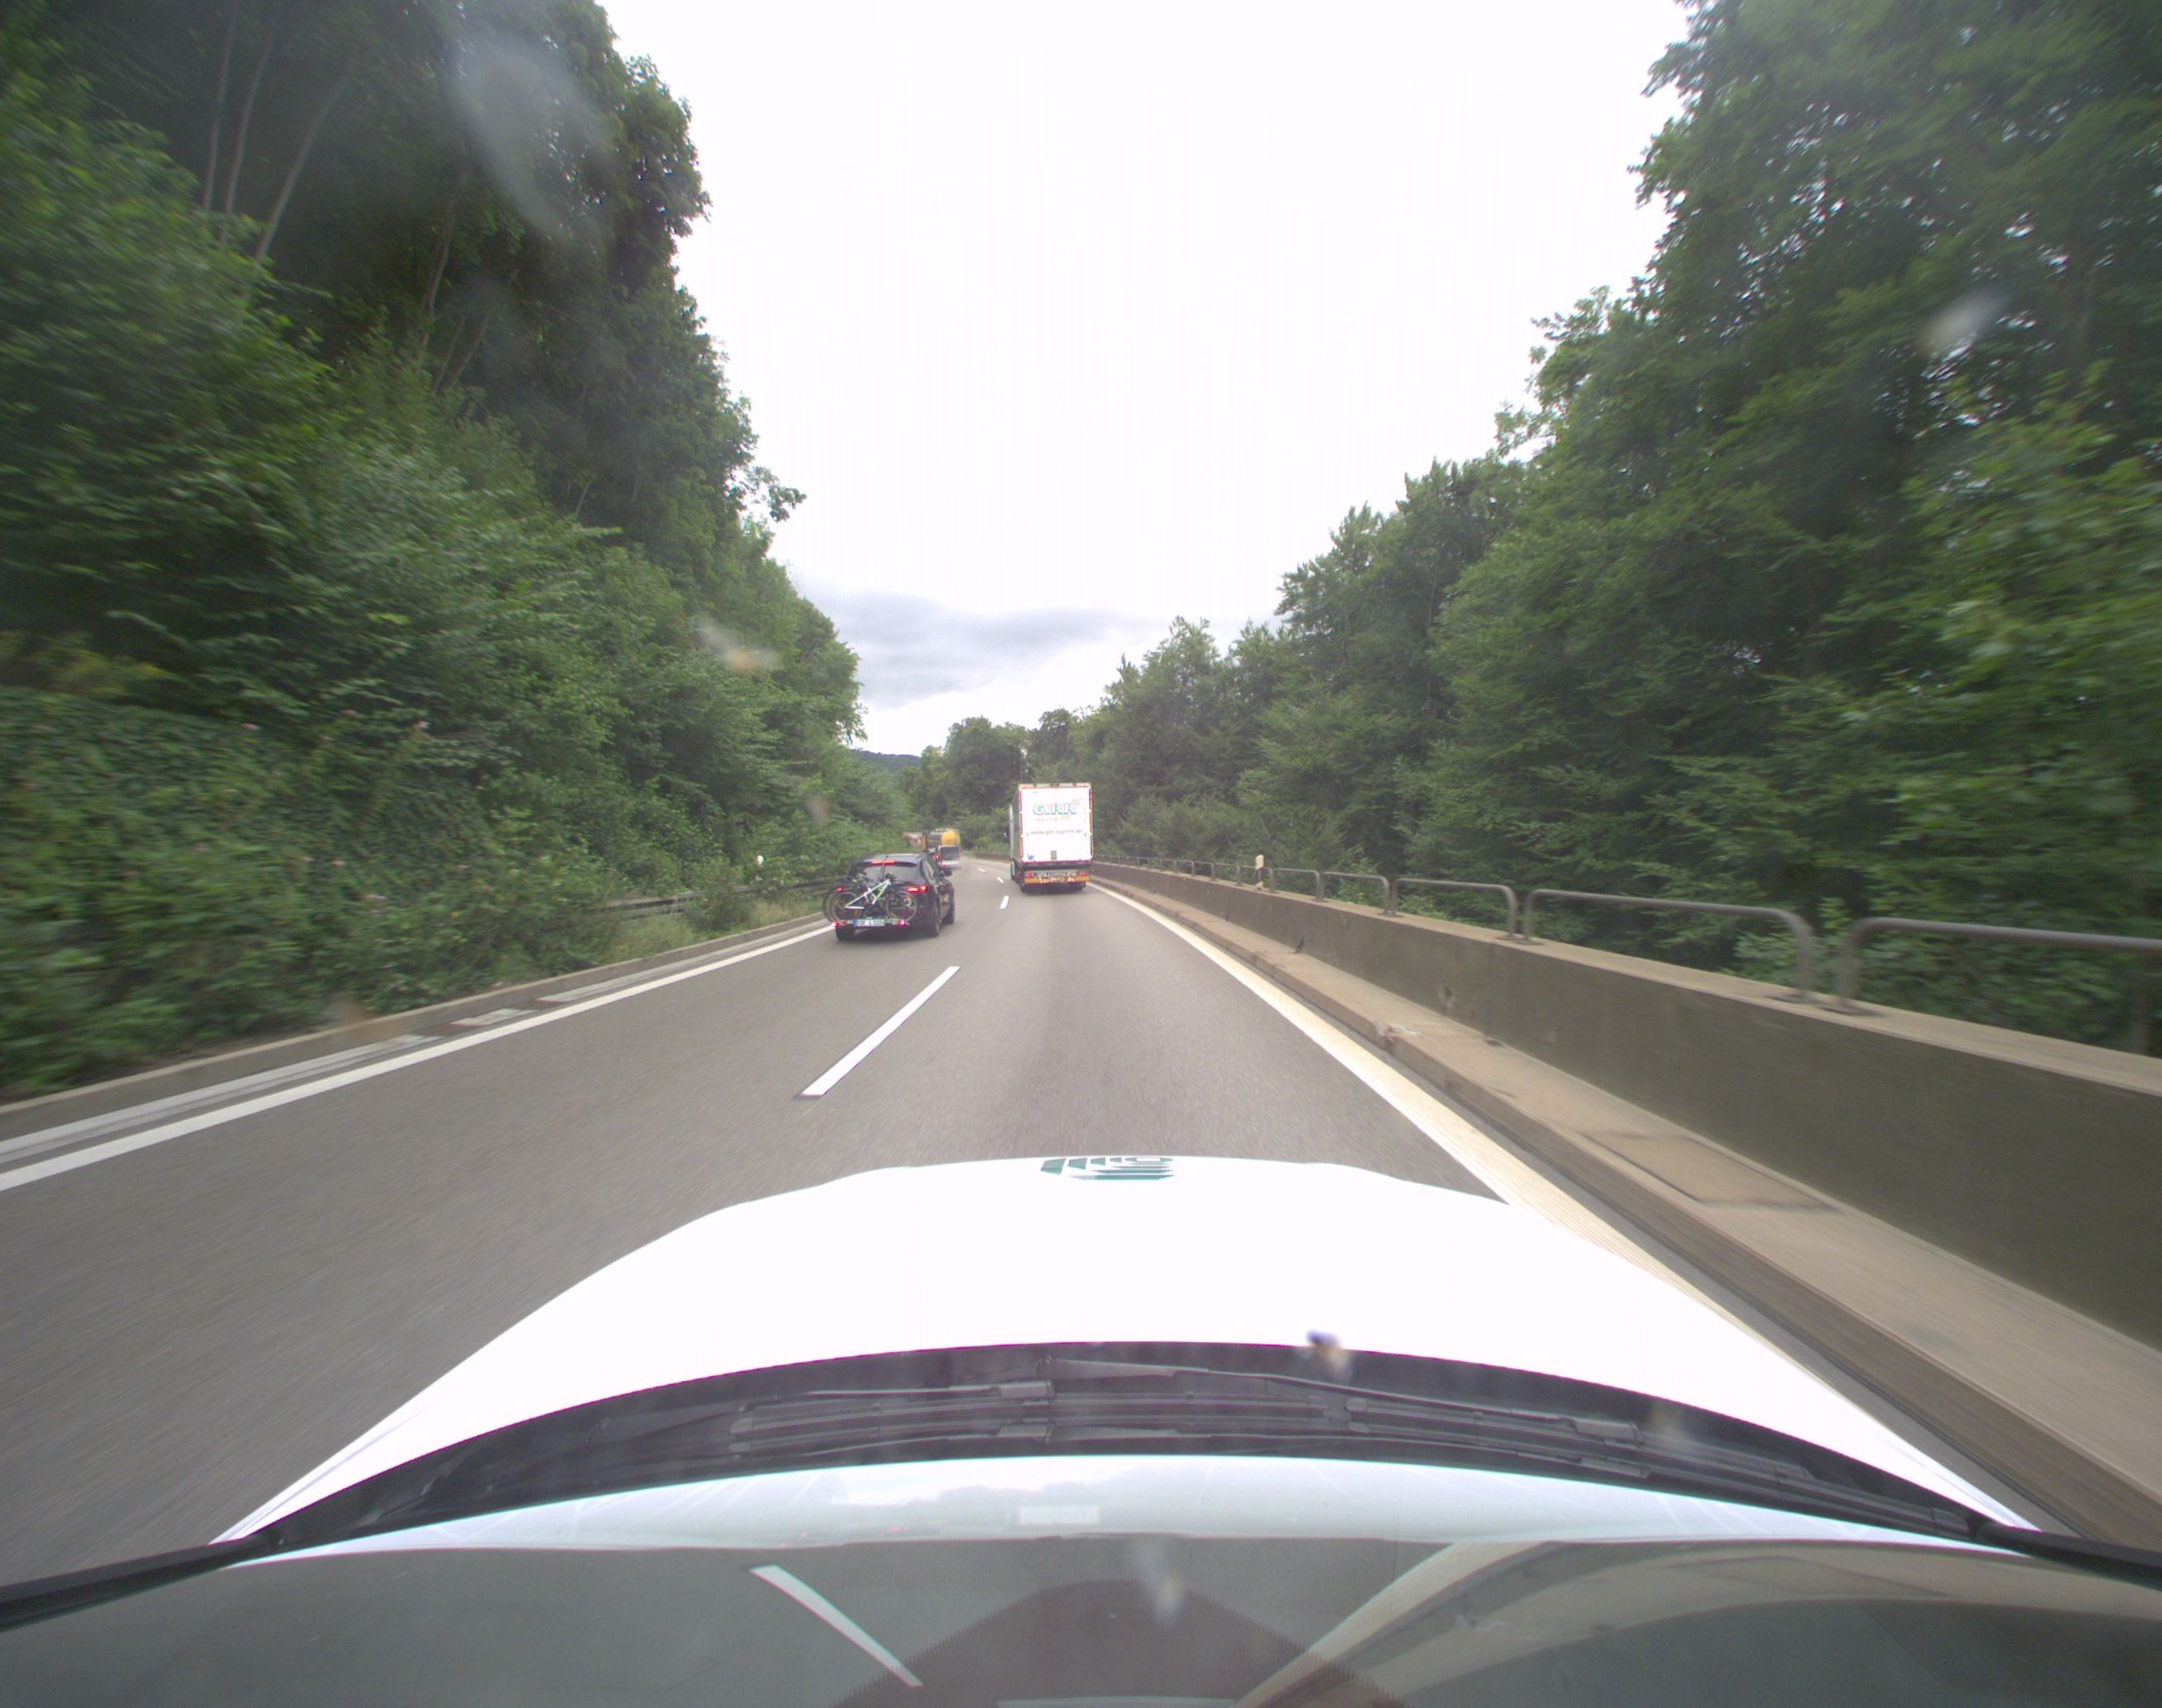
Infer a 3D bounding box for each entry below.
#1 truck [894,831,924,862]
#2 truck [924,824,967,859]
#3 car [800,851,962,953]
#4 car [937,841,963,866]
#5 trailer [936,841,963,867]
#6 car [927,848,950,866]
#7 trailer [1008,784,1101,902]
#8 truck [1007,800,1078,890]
[{"bbox_3d":[-30.737,-1.199,145.206,3.840,5.325,10.987,0,0,-19],"label":"truck"},{"bbox_3d":[-16.864,-1.393,100.488,3.067,3.986,13.608,0,0,-19],"label":"truck"},{"bbox_3d":[-3.681,0.830,16.139,1.966,1.593,5.580,2,-1,-3],"label":"car"},{"bbox_3d":[-10.901,0.019,68.027,1.992,2.014,5.524,0,-1,-8],"label":"car"},{"bbox_3d":[-10.261,0.039,63.632,1.970,1.939,3.420,0,-1,-9],"label":"trailer"},{"bbox_3d":[-14.474,0.298,82.323,1.997,1.717,3.980,-1,0,-14],"label":"car"},{"bbox_3d":[-1.445,-0.546,34.372,3.053,3.985,12.114,2,2,-6],"label":"trailer"},{"bbox_3d":[-2.067,-0.518,40.701,3.053,3.985,7.174,2,1,-6],"label":"truck"}]
